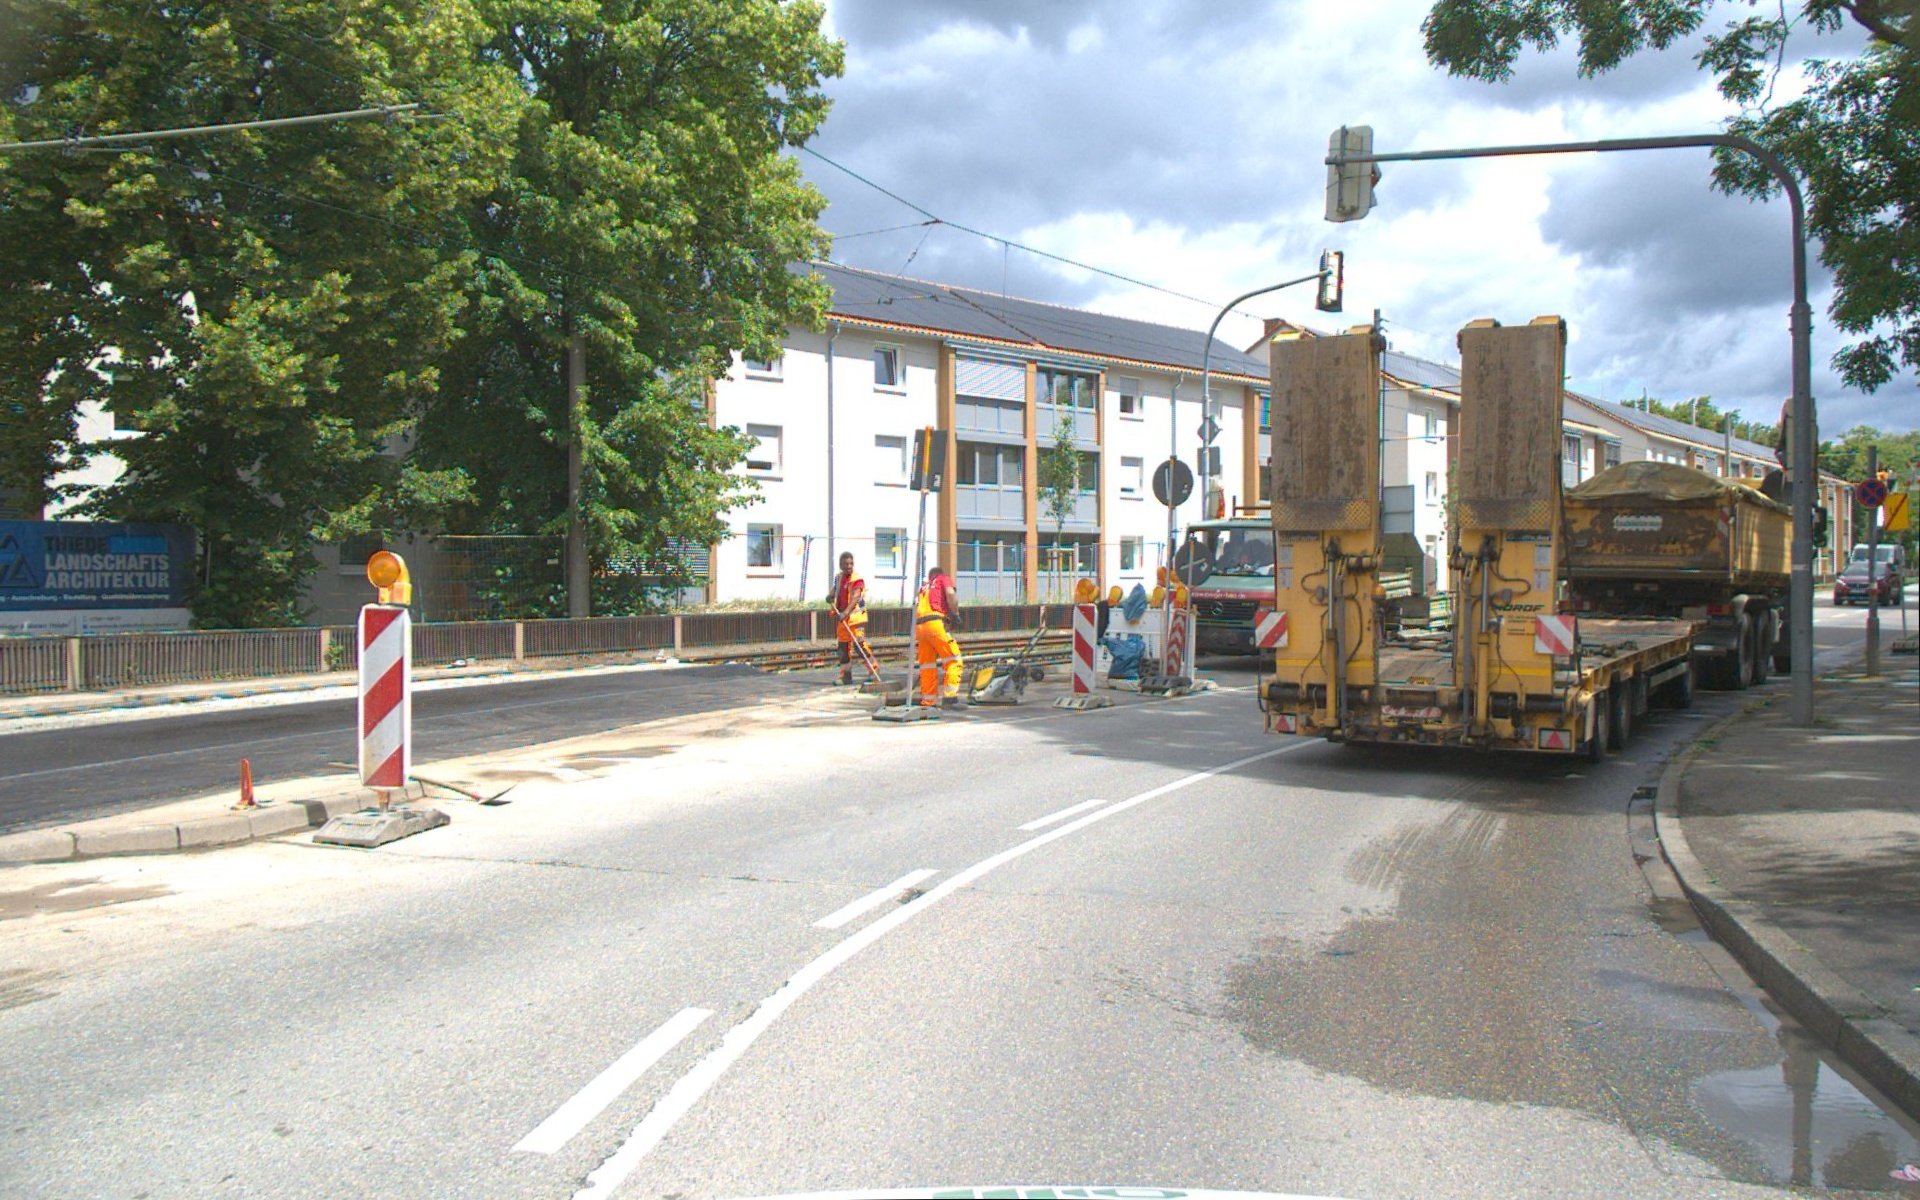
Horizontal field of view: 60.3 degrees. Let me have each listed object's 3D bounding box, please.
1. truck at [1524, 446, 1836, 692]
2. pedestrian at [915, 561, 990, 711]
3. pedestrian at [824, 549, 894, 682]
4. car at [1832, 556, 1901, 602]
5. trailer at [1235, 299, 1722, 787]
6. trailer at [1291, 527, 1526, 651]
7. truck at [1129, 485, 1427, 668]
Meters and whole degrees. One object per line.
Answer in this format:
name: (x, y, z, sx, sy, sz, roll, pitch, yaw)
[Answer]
truck: (11.351, -0.508, 25.588, 2.868, 3.222, 7.652, 2, 2, 35)
pedestrian: (-0.091, 0.387, 17.879, 0.747, 1.578, 0.900, 0, -1, -4)
pedestrian: (-1.316, 0.205, 21.718, 0.689, 1.697, 0.829, 0, -1, 13)
car: (34.187, -0.796, 62.323, 1.811, 1.646, 4.226, -1, 0, 36)
trailer: (6.149, -0.507, 17.686, 2.770, 3.585, 11.034, 2, 1, 29)
trailer: (9.209, -0.284, 33.500, 2.617, 2.252, 6.226, 2, 2, 35)
truck: (5.607, -0.436, 28.340, 2.617, 2.772, 6.373, 2, 2, 35)
